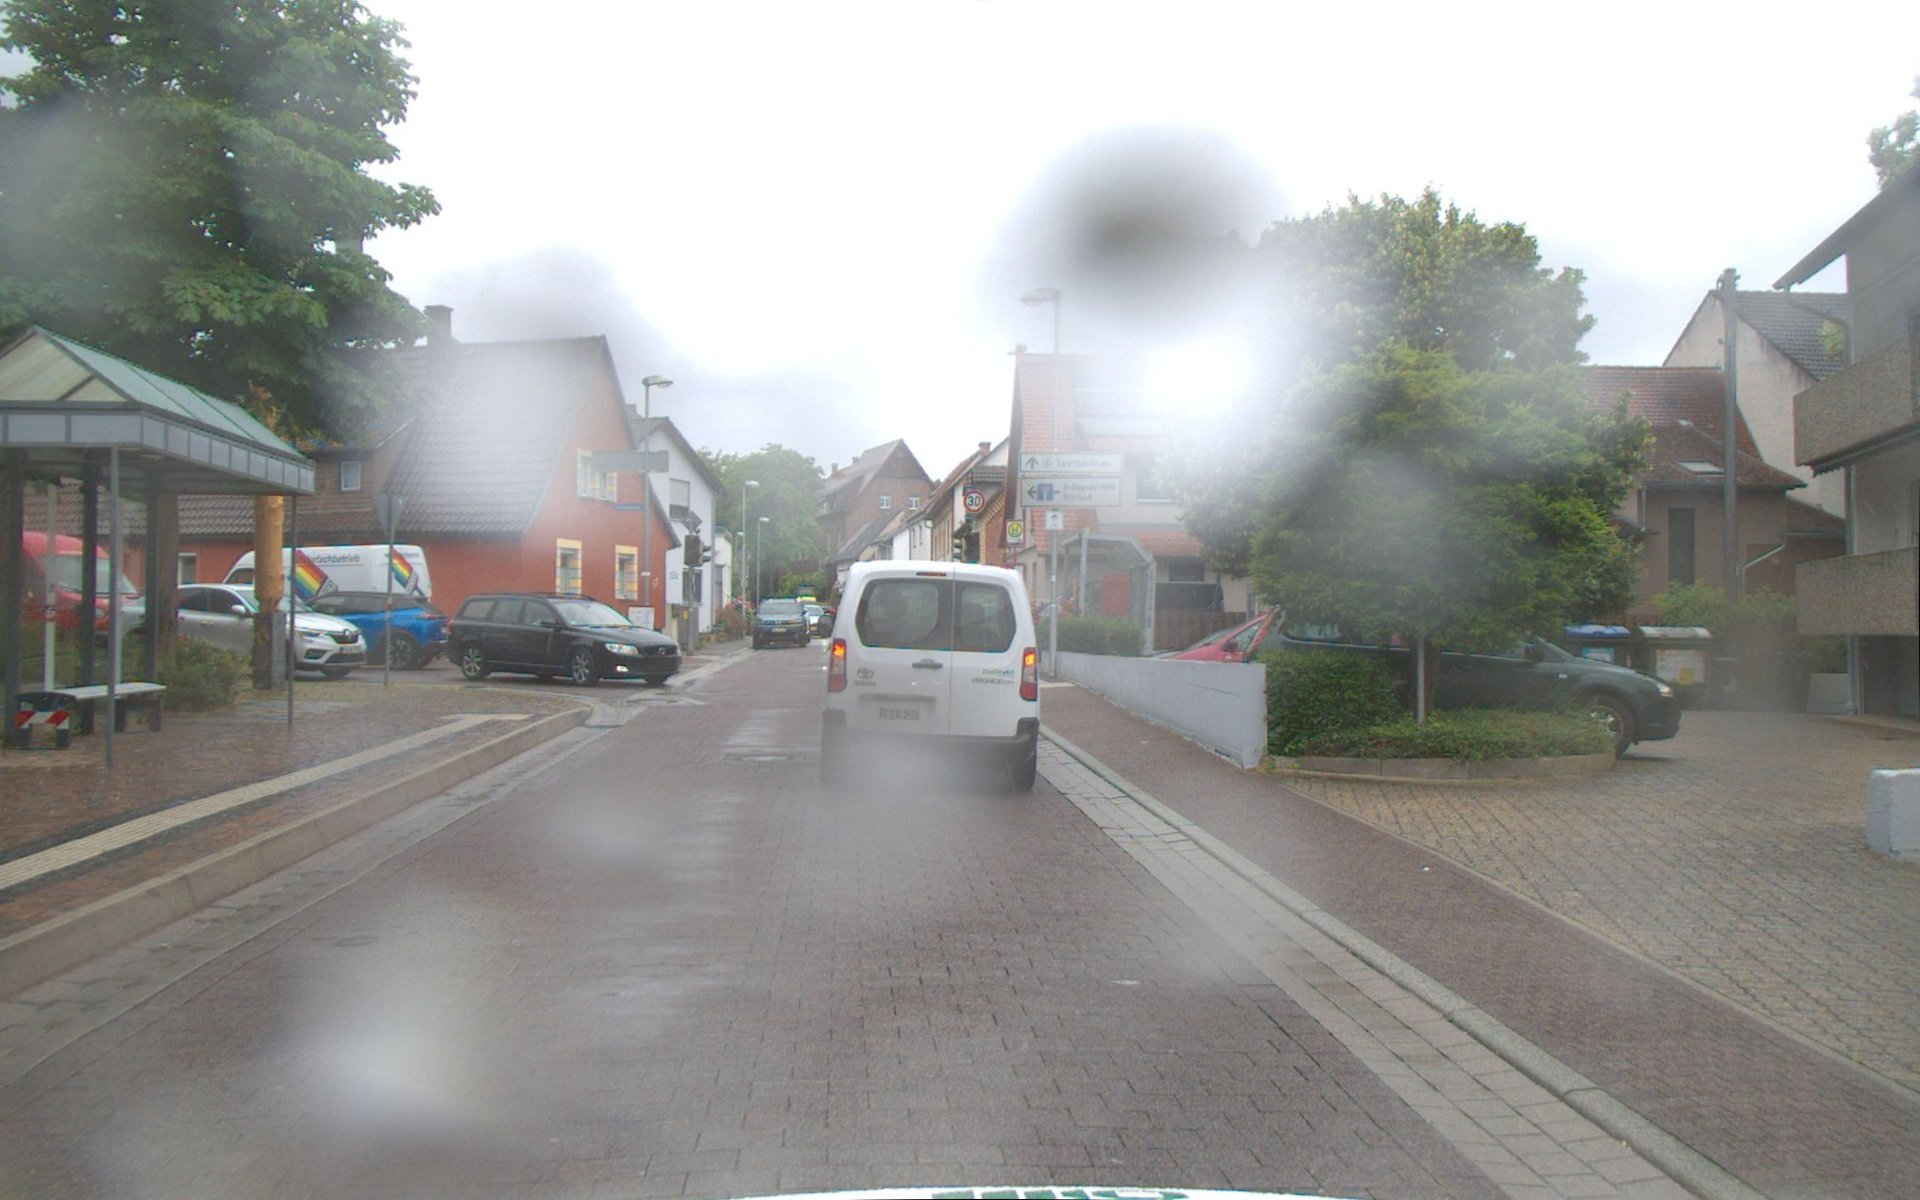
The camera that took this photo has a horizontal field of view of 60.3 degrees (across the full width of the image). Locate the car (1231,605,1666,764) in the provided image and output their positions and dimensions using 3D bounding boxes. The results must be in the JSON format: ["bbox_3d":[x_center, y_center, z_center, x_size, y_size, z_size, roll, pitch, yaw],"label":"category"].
[{"bbox_3d":[4.948,0.823,17.187,4.137,1.506,1.696,0,-1,11],"label":"car"}]

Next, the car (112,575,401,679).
[{"bbox_3d":[-12.151,0.448,28.618,4.352,1.577,1.883,2,0,17],"label":"car"}]

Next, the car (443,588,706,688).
[{"bbox_3d":[-6.576,0.610,28.132,4.219,1.503,1.846,1,0,30],"label":"car"}]

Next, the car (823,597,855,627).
[{"bbox_3d":[-8.254,0.793,112.663,1.955,1.777,3.995,2,1,-6],"label":"car"}]

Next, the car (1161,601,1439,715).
[{"bbox_3d":[5.105,0.844,25.092,3.981,1.617,1.859,0,0,10],"label":"car"}]

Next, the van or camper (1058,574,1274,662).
[{"bbox_3d":[5.096,0.443,41.216,4.973,1.956,1.873,2,-1,-8],"label":"van or camper"}]

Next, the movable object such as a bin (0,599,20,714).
[{"bbox_3d":[-10.064,0.581,16.931,0.551,1.166,0.603,0,-2,-7],"label":"movable object such as a bin"}]

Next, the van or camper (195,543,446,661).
[{"bbox_3d":[-14.133,0.028,36.579,5.037,2.478,2.211,0,0,22],"label":"van or camper"}]

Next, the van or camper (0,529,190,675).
[{"bbox_3d":[-17.401,-0.022,30.759,5.738,2.517,2.155,1,0,21],"label":"van or camper"}]

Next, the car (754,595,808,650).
[{"bbox_3d":[-6.125,0.732,56.829,1.777,1.810,4.013,0,0,-6],"label":"car"}]

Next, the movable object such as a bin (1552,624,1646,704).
[{"bbox_3d":[11.544,1.144,29.926,1.217,1.381,1.154,1,0,-3],"label":"movable object such as a bin"}]

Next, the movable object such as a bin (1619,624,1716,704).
[{"bbox_3d":[12.799,1.146,29.967,1.217,1.381,1.154,1,0,-3],"label":"movable object such as a bin"}]

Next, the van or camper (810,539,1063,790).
[{"bbox_3d":[-0.343,0.499,14.689,1.905,1.883,3.996,1,0,-5],"label":"van or camper"}]

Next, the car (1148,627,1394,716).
[{"bbox_3d":[5.137,1.168,27.693,3.868,1.402,1.752,0,0,4],"label":"car"}]
